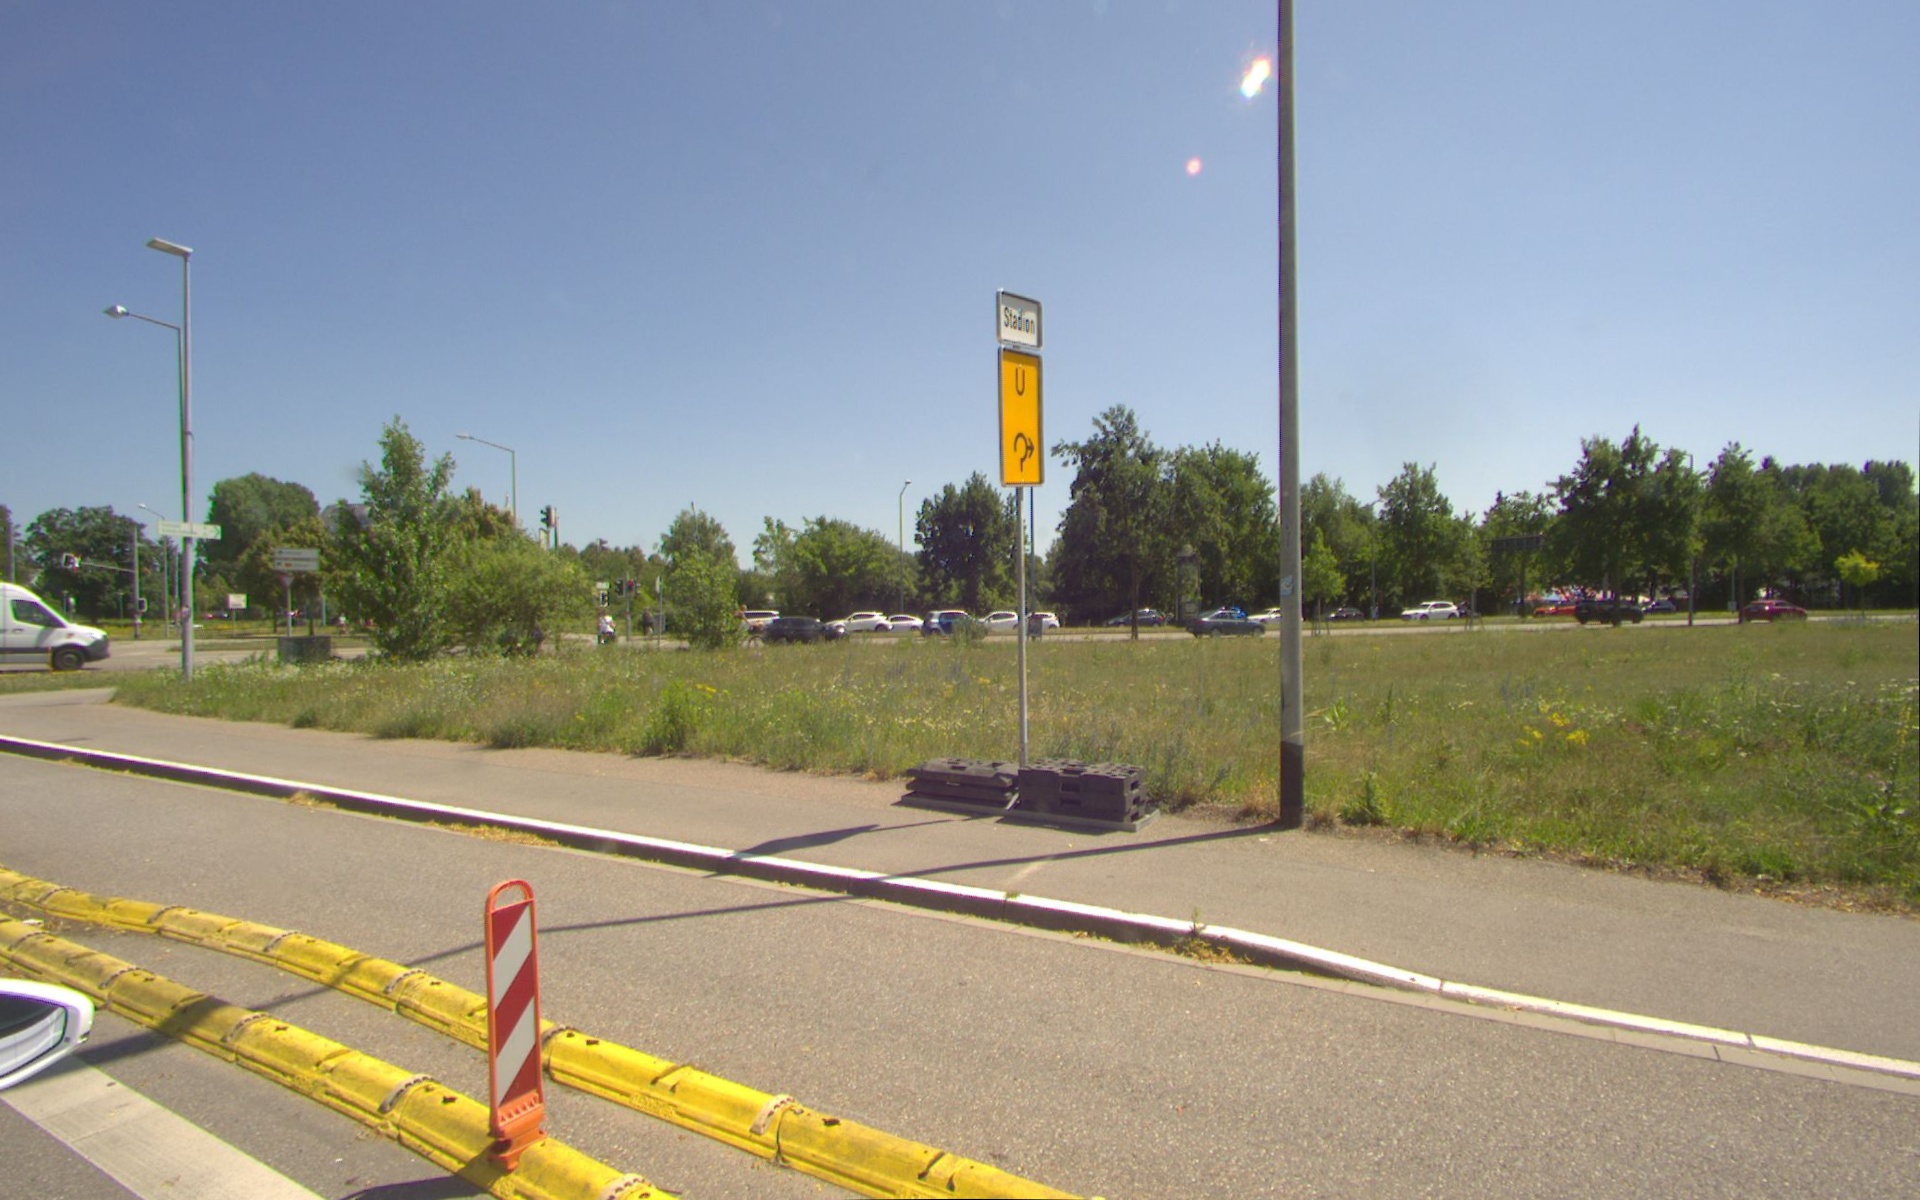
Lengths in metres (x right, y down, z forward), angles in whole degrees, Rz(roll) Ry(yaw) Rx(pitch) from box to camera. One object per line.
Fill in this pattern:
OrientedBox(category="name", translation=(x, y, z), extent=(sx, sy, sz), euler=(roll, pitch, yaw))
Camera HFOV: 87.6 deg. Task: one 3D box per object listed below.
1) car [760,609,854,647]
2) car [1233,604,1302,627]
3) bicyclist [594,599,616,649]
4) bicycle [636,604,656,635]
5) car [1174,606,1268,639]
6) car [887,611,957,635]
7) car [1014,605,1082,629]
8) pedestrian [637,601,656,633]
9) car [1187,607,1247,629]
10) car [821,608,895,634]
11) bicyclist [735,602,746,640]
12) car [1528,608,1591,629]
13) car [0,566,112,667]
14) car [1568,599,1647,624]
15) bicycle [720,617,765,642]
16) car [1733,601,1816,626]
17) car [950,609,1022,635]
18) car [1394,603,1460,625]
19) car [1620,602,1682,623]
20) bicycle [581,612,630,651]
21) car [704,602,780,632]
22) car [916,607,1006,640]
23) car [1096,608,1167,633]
OrientedBox(category="car", translation=(-6.792, 1.243, 44.287), extent=(3.929, 1.573, 1.724), euler=(1, 1, -16))
OrientedBox(category="car", translation=(21.777, 1.120, 71.002), extent=(4.366, 1.612, 1.846), euler=(0, -2, -16))
OrientedBox(category="bicyclist", translation=(-13.171, 0.896, 37.166), extent=(0.597, 1.864, 0.572), euler=(0, -1, 2))
OrientedBox(category="bicycle", translation=(-16.773, 1.048, 53.563), extent=(0.967, 1.617, 2.879), euler=(0, -2, -16))
OrientedBox(category="car", translation=(13.586, 1.164, 52.235), extent=(4.340, 1.617, 1.996), euler=(0, 1, -16))
OrientedBox(category="car", translation=(-2.577, 1.556, 66.893), extent=(4.366, 1.612, 1.846), euler=(0, -2, -16))
OrientedBox(category="car", translation=(6.115, 1.188, 69.800), extent=(4.365, 1.613, 1.845), euler=(0, 0, -16))
OrientedBox(category="pedestrian", translation=(-16.729, 0.913, 53.425), extent=(0.954, 1.681, 0.885), euler=(0, -1, -16))
OrientedBox(category="car", translation=(18.788, 1.311, 73.286), extent=(3.927, 1.558, 1.764), euler=(0, -2, -14))
OrientedBox(category="car", translation=(-6.417, 1.323, 62.860), extent=(4.366, 1.612, 1.846), euler=(0, -2, -16))
OrientedBox(category="bicyclist", translation=(-7.887, 0.760, 36.022), extent=(0.349, 1.336, 0.379), euler=(0, -1, -9))
OrientedBox(category="car", translation=(47.070, 1.480, 78.644), extent=(4.337, 1.612, 1.846), euler=(0, -2, -16))
OrientedBox(category="car", translation=(-28.614, 0.471, 28.352), extent=(1.977, 2.864, 6.830), euler=(-1, -2, 41))
OrientedBox(category="car", translation=(42.182, 0.741, 65.265), extent=(4.342, 1.617, 1.995), euler=(0, 1, -18))
OrientedBox(category="bicycle", translation=(-7.834, 1.048, 36.028), extent=(1.566, 0.895, 0.368), euler=(0, -1, -15))
OrientedBox(category="car", translation=(52.313, 0.862, 64.340), extent=(4.340, 1.546, 1.998), euler=(0, -2, -15))
OrientedBox(category="car", translation=(1.695, 1.436, 65.243), extent=(4.366, 1.612, 1.846), euler=(0, -2, -16))
OrientedBox(category="car", translation=(34.780, 1.074, 74.578), extent=(4.366, 1.612, 1.846), euler=(0, -2, -17))
OrientedBox(category="car", translation=(56.350, 1.044, 81.685), extent=(4.366, 1.612, 1.846), euler=(0, -2, -16))
OrientedBox(category="bicycle", translation=(-13.142, 1.172, 37.228), extent=(0.628, 1.370, 2.896), euler=(0, -2, 4))
OrientedBox(category="car", translation=(-13.180, 1.054, 60.449), extent=(4.366, 1.758, 1.846), euler=(0, -2, -16))
OrientedBox(category="car", translation=(0.042, 1.218, 53.041), extent=(4.344, 1.617, 1.994), euler=(0, 1, -20))
OrientedBox(category="car", translation=(11.636, 1.400, 67.929), extent=(4.366, 1.612, 1.846), euler=(0, -2, -16))
